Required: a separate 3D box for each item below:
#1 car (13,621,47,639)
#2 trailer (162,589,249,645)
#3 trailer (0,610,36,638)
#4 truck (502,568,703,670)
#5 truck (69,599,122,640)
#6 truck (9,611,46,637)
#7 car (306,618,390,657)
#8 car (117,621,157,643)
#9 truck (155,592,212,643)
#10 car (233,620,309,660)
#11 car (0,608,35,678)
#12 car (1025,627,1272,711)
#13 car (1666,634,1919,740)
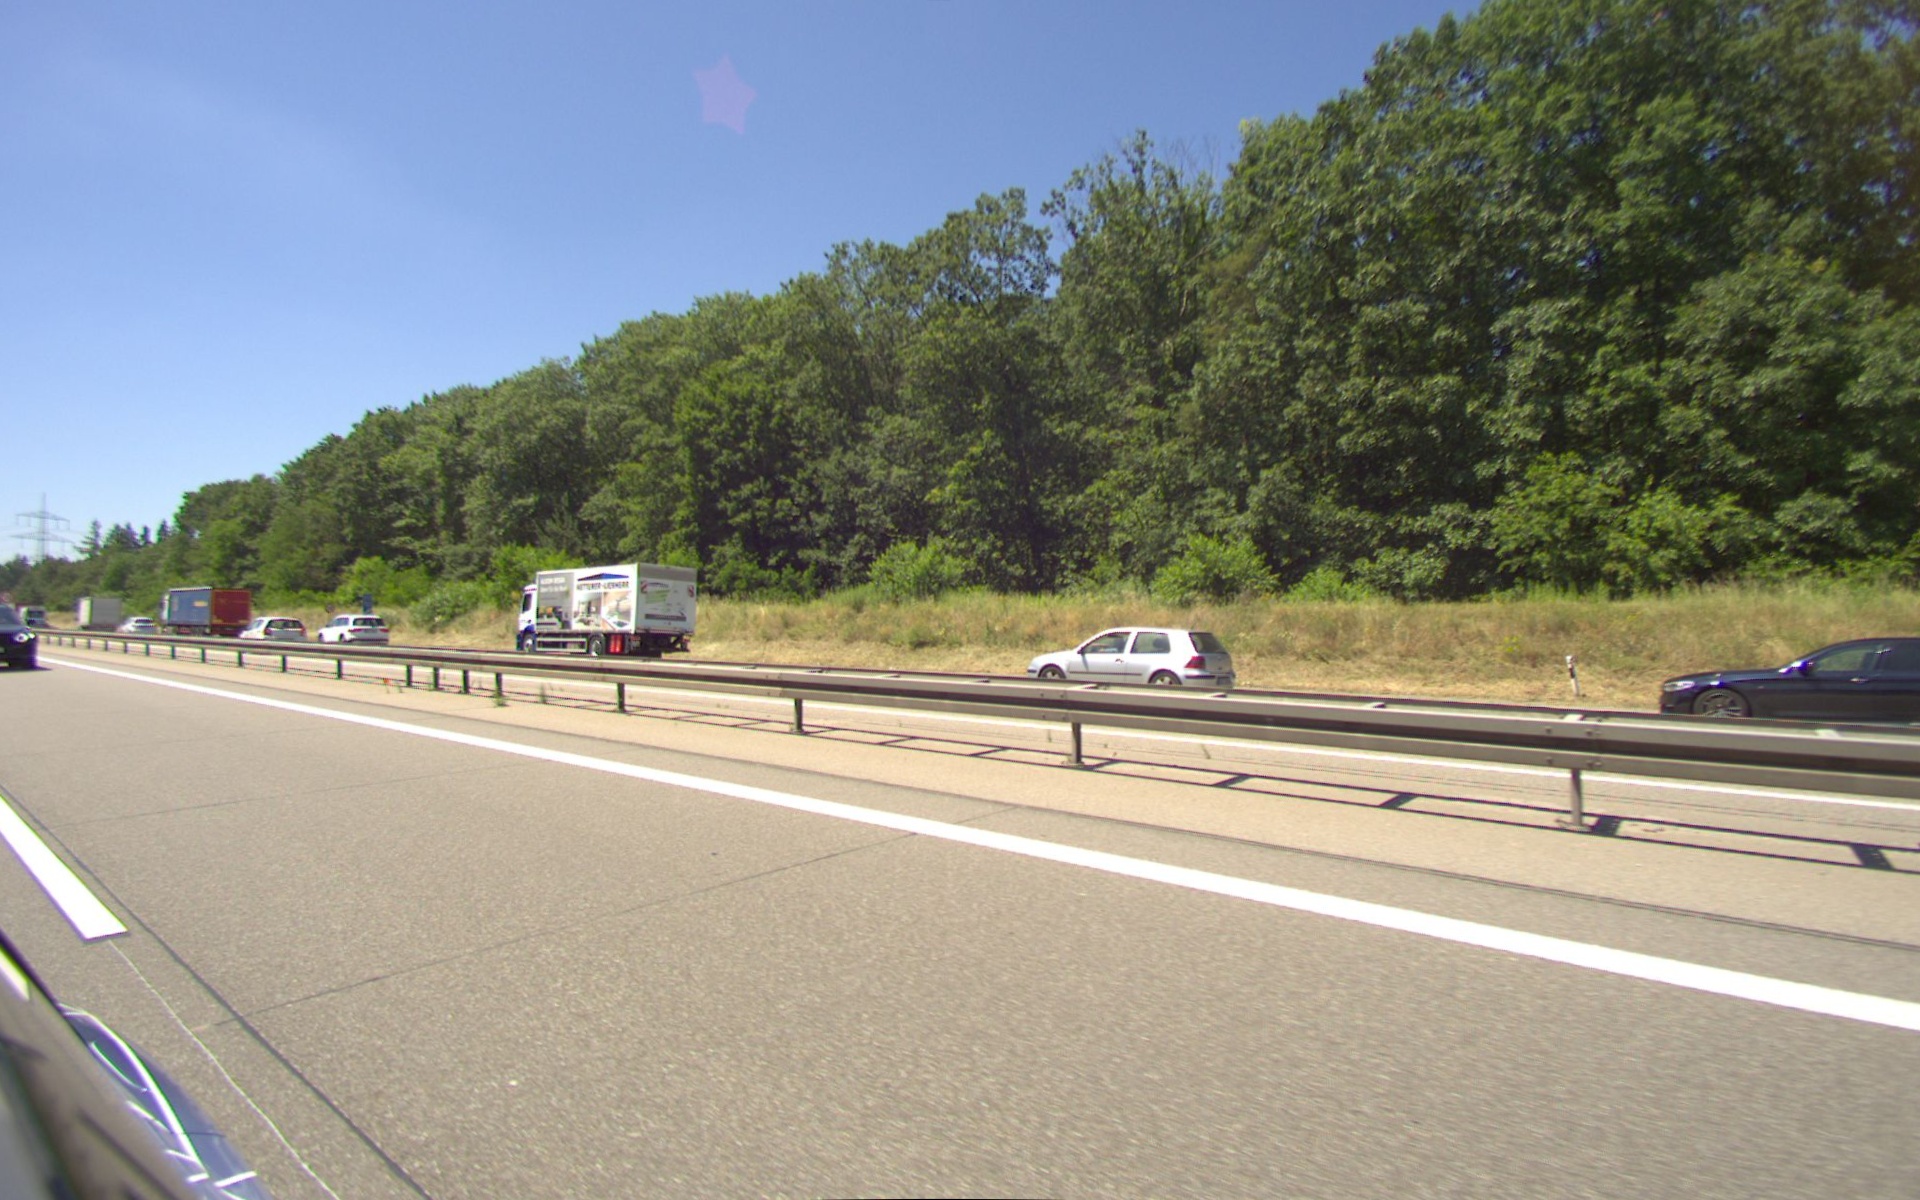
[{"bbox_3d":[-80.471,2.589,87.539,4.541,1.410,1.587,-1,-4,41],"label":"car"},{"bbox_3d":[-59.946,1.425,80.162,14.362,4.045,2.479,-1,-4,42],"label":"trailer"},{"bbox_3d":[-148.915,3.756,159.704,14.540,4.151,2.783,-1,-4,41],"label":"trailer"},{"bbox_3d":[-14.381,0.808,40.005,10.438,3.545,2.703,-1,-4,42],"label":"truck"},{"bbox_3d":[-80.010,1.840,93.611,8.116,3.634,2.431,-1,-4,42],"label":"truck"},{"bbox_3d":[-99.901,2.597,108.404,8.028,2.643,2.060,-1,-4,42],"label":"truck"},{"bbox_3d":[-28.034,1.714,46.285,5.085,1.659,1.709,-1,-4,41],"label":"car"},{"bbox_3d":[-63.121,2.459,77.581,4.467,1.571,1.587,-1,-4,41],"label":"car"},{"bbox_3d":[-64.876,1.517,84.559,6.122,4.045,2.479,-1,-4,42],"label":"truck"},{"bbox_3d":[-26.965,1.542,39.568,3.638,1.478,1.500,-1,-4,41],"label":"car"},{"bbox_3d":[-26.686,1.139,27.269,5.809,1.765,1.920,-2,-1,41],"label":"car"},{"bbox_3d":[3.500,1.265,19.302,4.350,1.418,1.743,-1,-4,41],"label":"car"},{"bbox_3d":[13.389,1.241,14.544,5.174,1.422,1.637,-1,-4,41],"label":"car"}]
